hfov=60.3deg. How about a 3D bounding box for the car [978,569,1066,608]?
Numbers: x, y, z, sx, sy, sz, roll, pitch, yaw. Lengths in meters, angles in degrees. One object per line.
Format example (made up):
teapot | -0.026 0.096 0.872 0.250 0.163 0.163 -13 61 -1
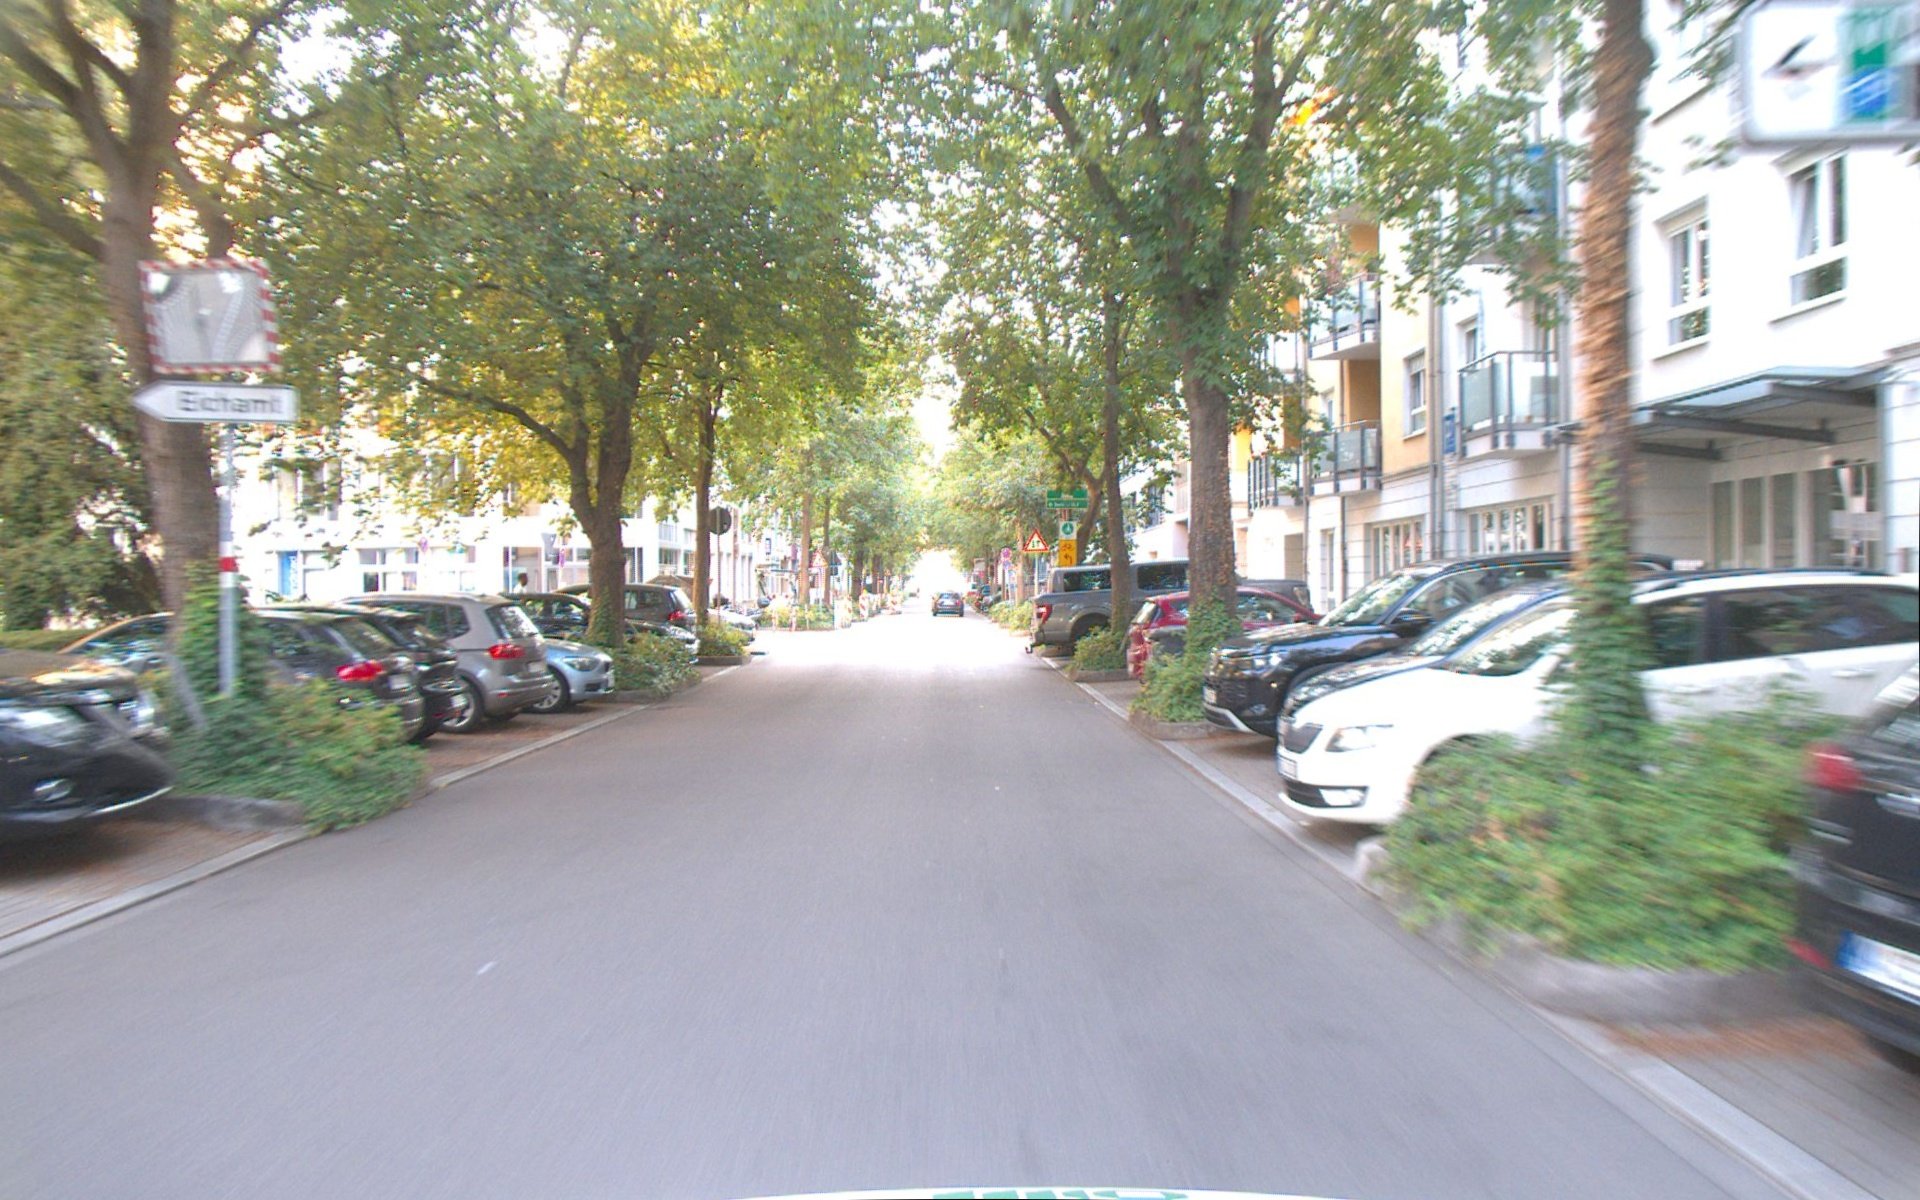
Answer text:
car | 3.479 -0.645 92.996 4.870 2.124 1.738 -1 0 -1

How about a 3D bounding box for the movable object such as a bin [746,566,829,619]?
movable object such as a bin | -7.895 -0.351 76.083 3.592 2.373 2.582 -1 0 -3

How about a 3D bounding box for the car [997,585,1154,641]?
car | 3.349 0.366 48.157 4.206 1.534 1.866 -1 0 -14

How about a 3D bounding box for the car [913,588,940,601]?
car | -5.048 -0.889 249.988 3.913 1.948 1.774 -1 0 -9

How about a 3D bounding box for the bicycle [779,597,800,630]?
bicycle | -6.251 0.479 60.728 0.589 1.137 1.799 -1 1 -1

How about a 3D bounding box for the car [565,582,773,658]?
car | -6.660 0.443 38.198 4.406 1.609 2.055 1 0 0

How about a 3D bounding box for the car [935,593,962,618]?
car | -0.689 0.302 95.787 1.470 1.441 3.712 0 0 -2

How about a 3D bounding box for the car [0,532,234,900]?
car | -6.818 0.597 9.586 4.328 1.925 2.000 0 0 -1

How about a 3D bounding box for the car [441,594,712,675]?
car | -7.086 0.620 30.963 4.621 1.449 2.070 0 0 -3

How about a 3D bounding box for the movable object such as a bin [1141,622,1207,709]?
movable object such as a bin | 2.758 0.835 21.380 0.759 1.086 0.589 -1 0 -2

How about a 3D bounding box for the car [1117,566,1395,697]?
car | 4.240 0.453 24.047 3.592 1.575 1.779 -4 -1 -3

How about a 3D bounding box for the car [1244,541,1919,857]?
car | 4.218 0.534 10.388 4.480 1.579 1.772 -3 0 -2

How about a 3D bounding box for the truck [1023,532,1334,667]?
truck | 4.342 -0.017 33.670 5.883 2.169 2.260 -5 0 -1

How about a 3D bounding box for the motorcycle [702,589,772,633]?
motorcycle | -7.763 0.377 57.592 2.358 1.466 0.790 -1 0 -41

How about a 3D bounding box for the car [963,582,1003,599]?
car | 2.278 -0.975 164.596 3.908 1.625 1.998 0 0 -4

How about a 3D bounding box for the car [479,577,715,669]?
car | -7.210 0.448 33.219 4.308 1.714 2.063 1 0 -3

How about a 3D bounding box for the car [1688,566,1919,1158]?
car | 4.384 0.560 4.498 3.910 1.500 1.912 -4 1 -5

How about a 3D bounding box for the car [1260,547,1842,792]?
car | 4.493 0.507 13.013 3.905 1.552 1.727 -4 0 1

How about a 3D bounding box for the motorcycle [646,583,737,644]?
motorcycle | -6.758 0.340 41.703 2.171 1.520 0.691 0 0 1

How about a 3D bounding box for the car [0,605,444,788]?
car | -6.458 0.797 14.552 3.336 1.467 1.593 -1 0 -3

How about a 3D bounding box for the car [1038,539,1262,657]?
car | 4.106 -0.049 36.291 4.527 2.170 2.036 -4 0 -1

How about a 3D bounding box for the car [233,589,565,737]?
car | -6.548 0.700 19.600 3.336 1.637 1.760 -1 0 -3

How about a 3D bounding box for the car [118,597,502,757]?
car | -6.662 0.757 17.216 3.336 1.533 1.664 -1 0 -3

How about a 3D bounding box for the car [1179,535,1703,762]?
car | 4.453 0.412 15.634 4.303 1.733 1.892 -4 0 -9

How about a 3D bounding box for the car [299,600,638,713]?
car | -6.481 0.725 22.128 4.018 1.403 1.746 1 0 -3
